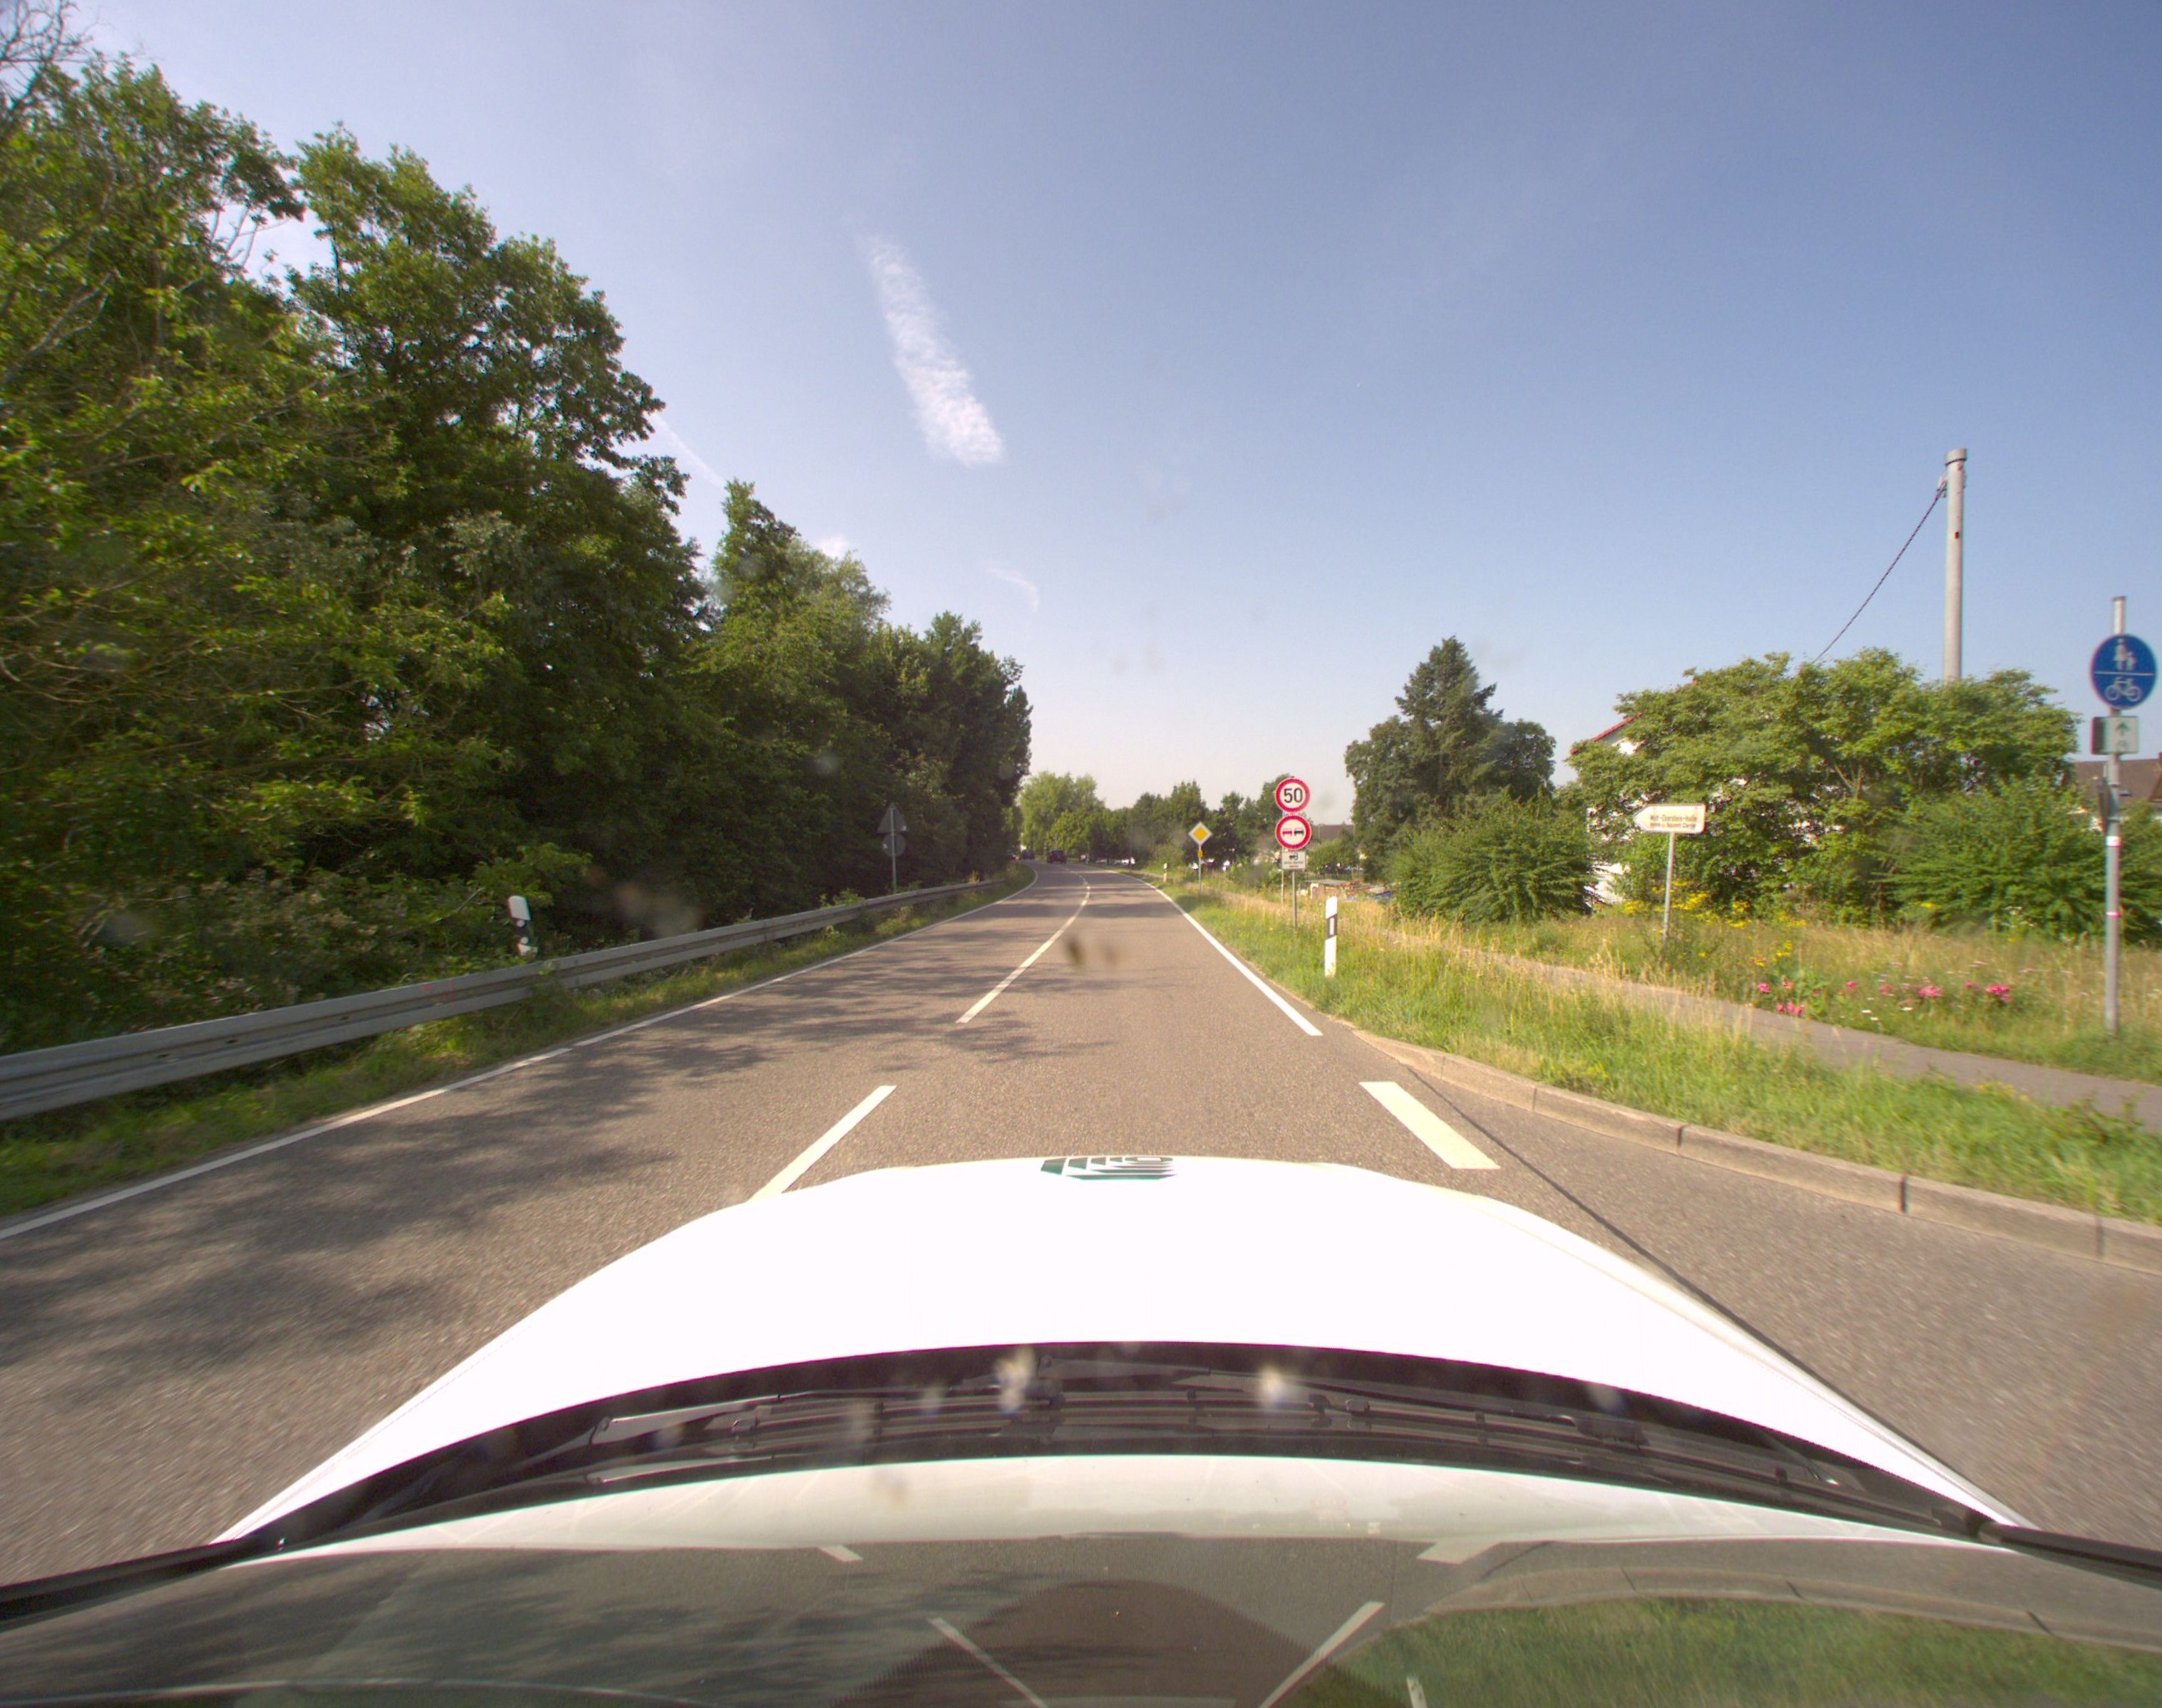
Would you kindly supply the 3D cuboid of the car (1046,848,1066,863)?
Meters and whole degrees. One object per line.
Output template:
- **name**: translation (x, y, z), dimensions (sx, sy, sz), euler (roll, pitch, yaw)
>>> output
- **car**: translation (-3.045, 0.184, 97.928), dimensions (1.925, 1.771, 3.987), euler (1, 1, -10)

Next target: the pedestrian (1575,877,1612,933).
- **pedestrian**: translation (15.199, 1.533, 24.164), dimensions (0.454, 1.617, 0.691), euler (0, -7, -12)

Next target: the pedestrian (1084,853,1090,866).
- **pedestrian**: translation (0.796, 0.731, 107.001), dimensions (0.751, 1.775, 0.973), euler (0, 0, 2)

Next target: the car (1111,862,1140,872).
- **car**: translation (6.753, 2.006, 124.229), dimensions (4.255, 1.471, 1.841), euler (0, 0, -5)

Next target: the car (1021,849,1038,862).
- **car**: translation (-7.818, 0.204, 123.748), dimensions (2.005, 1.771, 3.985), euler (1, 1, -11)

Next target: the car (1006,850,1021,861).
- **car**: translation (-10.176, 0.194, 122.955), dimensions (1.752, 1.474, 3.984), euler (1, 1, -12)

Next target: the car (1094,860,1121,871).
- **car**: translation (4.452, 1.923, 135.265), dimensions (4.232, 1.679, 1.886), euler (0, 0, -8)
